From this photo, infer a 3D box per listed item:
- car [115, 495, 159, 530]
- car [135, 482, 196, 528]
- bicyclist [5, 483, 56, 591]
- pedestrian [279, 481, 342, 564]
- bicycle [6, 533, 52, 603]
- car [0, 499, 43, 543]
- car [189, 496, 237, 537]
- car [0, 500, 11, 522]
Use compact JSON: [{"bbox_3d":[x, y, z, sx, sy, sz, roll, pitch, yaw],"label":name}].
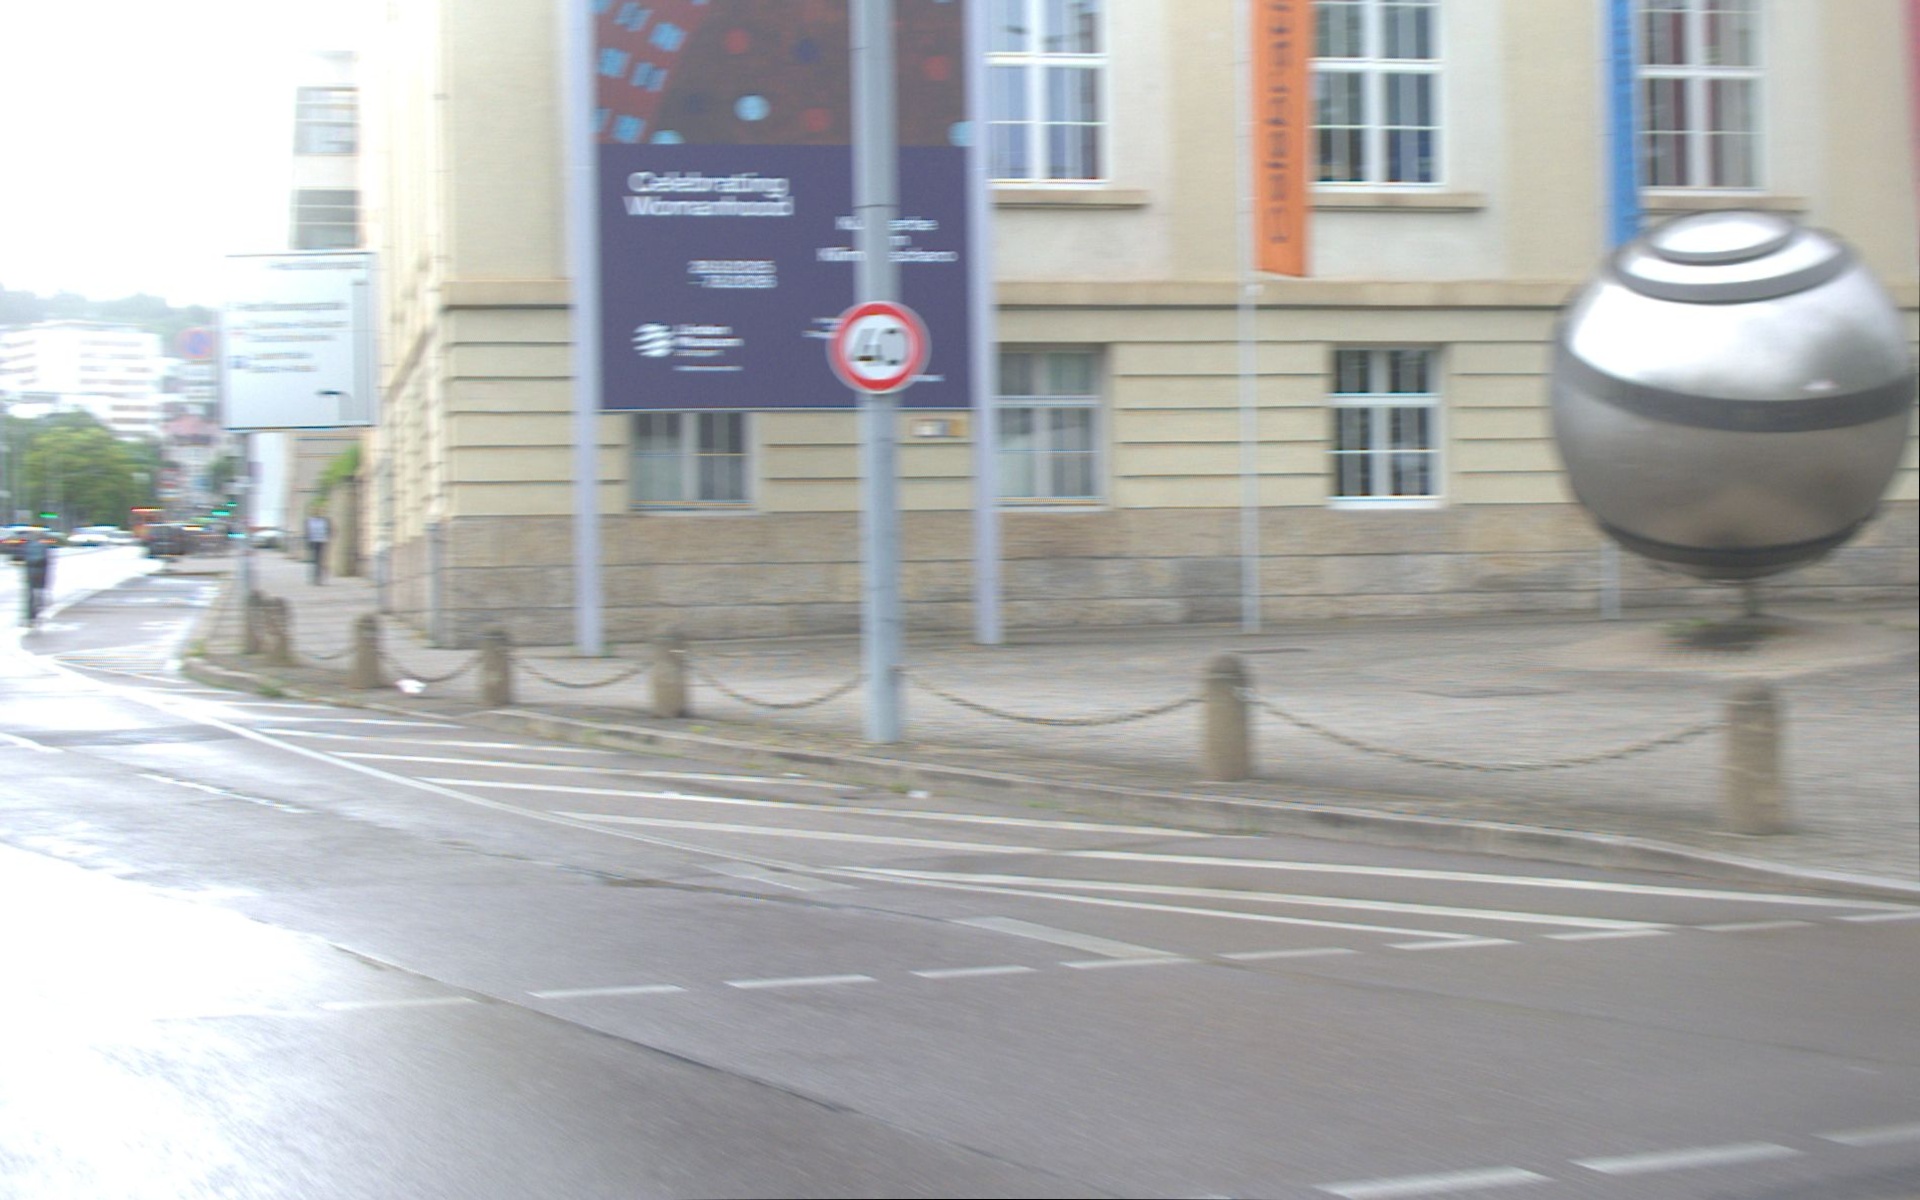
[{"bbox_3d":[-39.162,-4.185,163.611,1.838,1.554,4.002,0,3,-11],"label":"car"},{"bbox_3d":[-28.830,-3.475,124.837,1.838,1.554,4.002,0,3,-8],"label":"car"},{"bbox_3d":[-14.243,-0.974,52.689,0.700,1.627,1.129,0,2,-12],"label":"bicyclist"},{"bbox_3d":[-14.609,-1.751,77.350,1.239,1.782,1.595,-3,2,-8],"label":"pedestrian"},{"bbox_3d":[-14.258,-0.495,52.686,0.645,1.053,1.822,-1,1,-14],"label":"bicycle"},{"bbox_3d":[-37.239,-3.122,135.713,1.892,1.619,3.648,0,3,-13],"label":"car"},{"bbox_3d":[-31.321,-3.512,144.224,1.838,1.554,4.002,0,3,-11],"label":"car"},{"bbox_3d":[-57.967,-5.341,205.700,1.838,1.231,3.417,0,3,-8],"label":"car"}]
